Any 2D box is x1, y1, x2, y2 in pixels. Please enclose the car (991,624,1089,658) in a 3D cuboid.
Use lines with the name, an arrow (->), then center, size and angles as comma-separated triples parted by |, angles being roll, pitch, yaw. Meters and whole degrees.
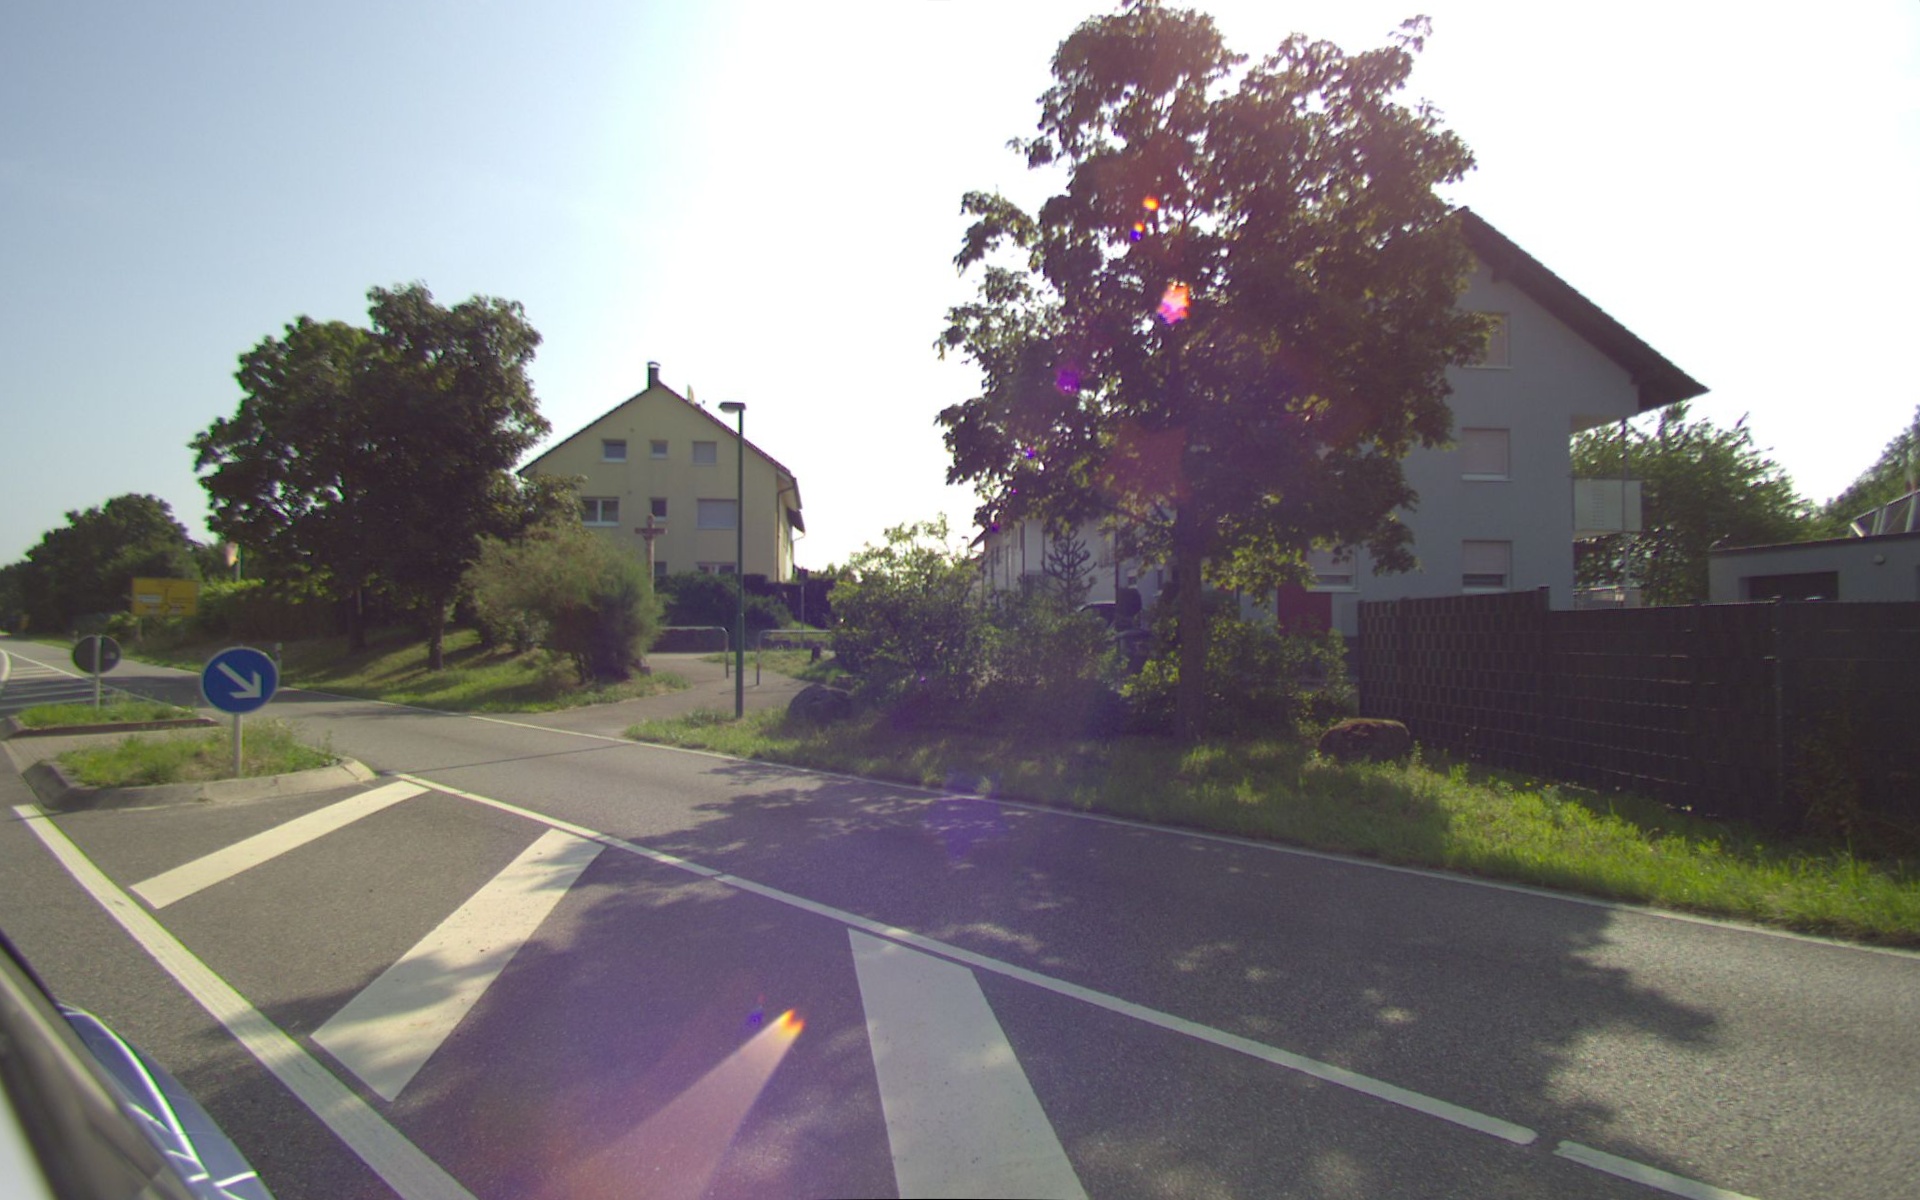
car -> 3.314, 1.720, 42.578 | 4.029, 1.383, 1.811 | 0, -2, 3

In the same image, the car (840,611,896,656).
car -> -3.296, 1.179, 35.846 | 1.839, 1.474, 4.239 | 0, -2, -6
